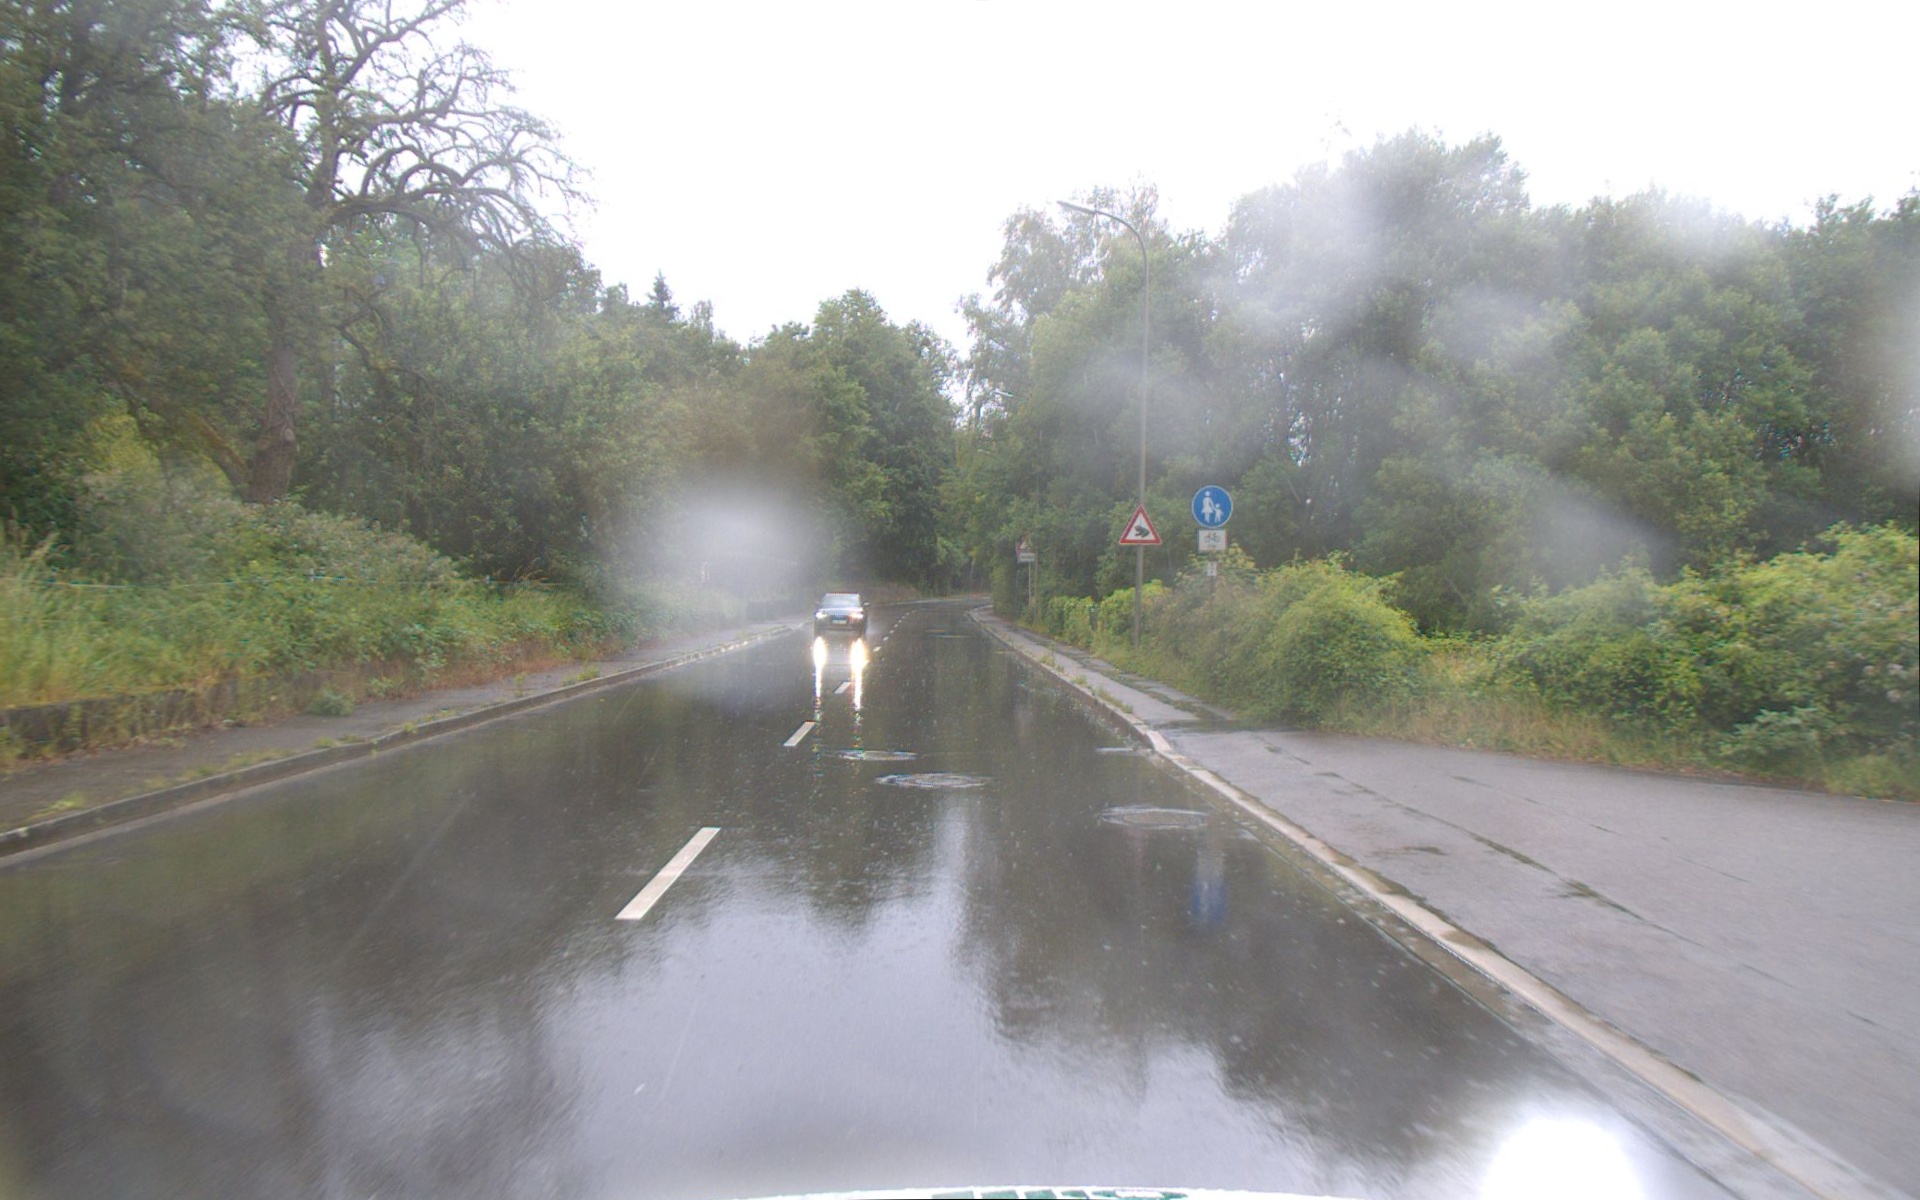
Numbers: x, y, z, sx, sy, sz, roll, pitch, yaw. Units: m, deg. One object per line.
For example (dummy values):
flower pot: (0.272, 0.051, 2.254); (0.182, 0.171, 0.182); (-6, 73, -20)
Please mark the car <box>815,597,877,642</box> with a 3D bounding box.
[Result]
car: (-4.067, 0.690, 59.734); (1.953, 1.479, 4.427); (1, 1, -1)
